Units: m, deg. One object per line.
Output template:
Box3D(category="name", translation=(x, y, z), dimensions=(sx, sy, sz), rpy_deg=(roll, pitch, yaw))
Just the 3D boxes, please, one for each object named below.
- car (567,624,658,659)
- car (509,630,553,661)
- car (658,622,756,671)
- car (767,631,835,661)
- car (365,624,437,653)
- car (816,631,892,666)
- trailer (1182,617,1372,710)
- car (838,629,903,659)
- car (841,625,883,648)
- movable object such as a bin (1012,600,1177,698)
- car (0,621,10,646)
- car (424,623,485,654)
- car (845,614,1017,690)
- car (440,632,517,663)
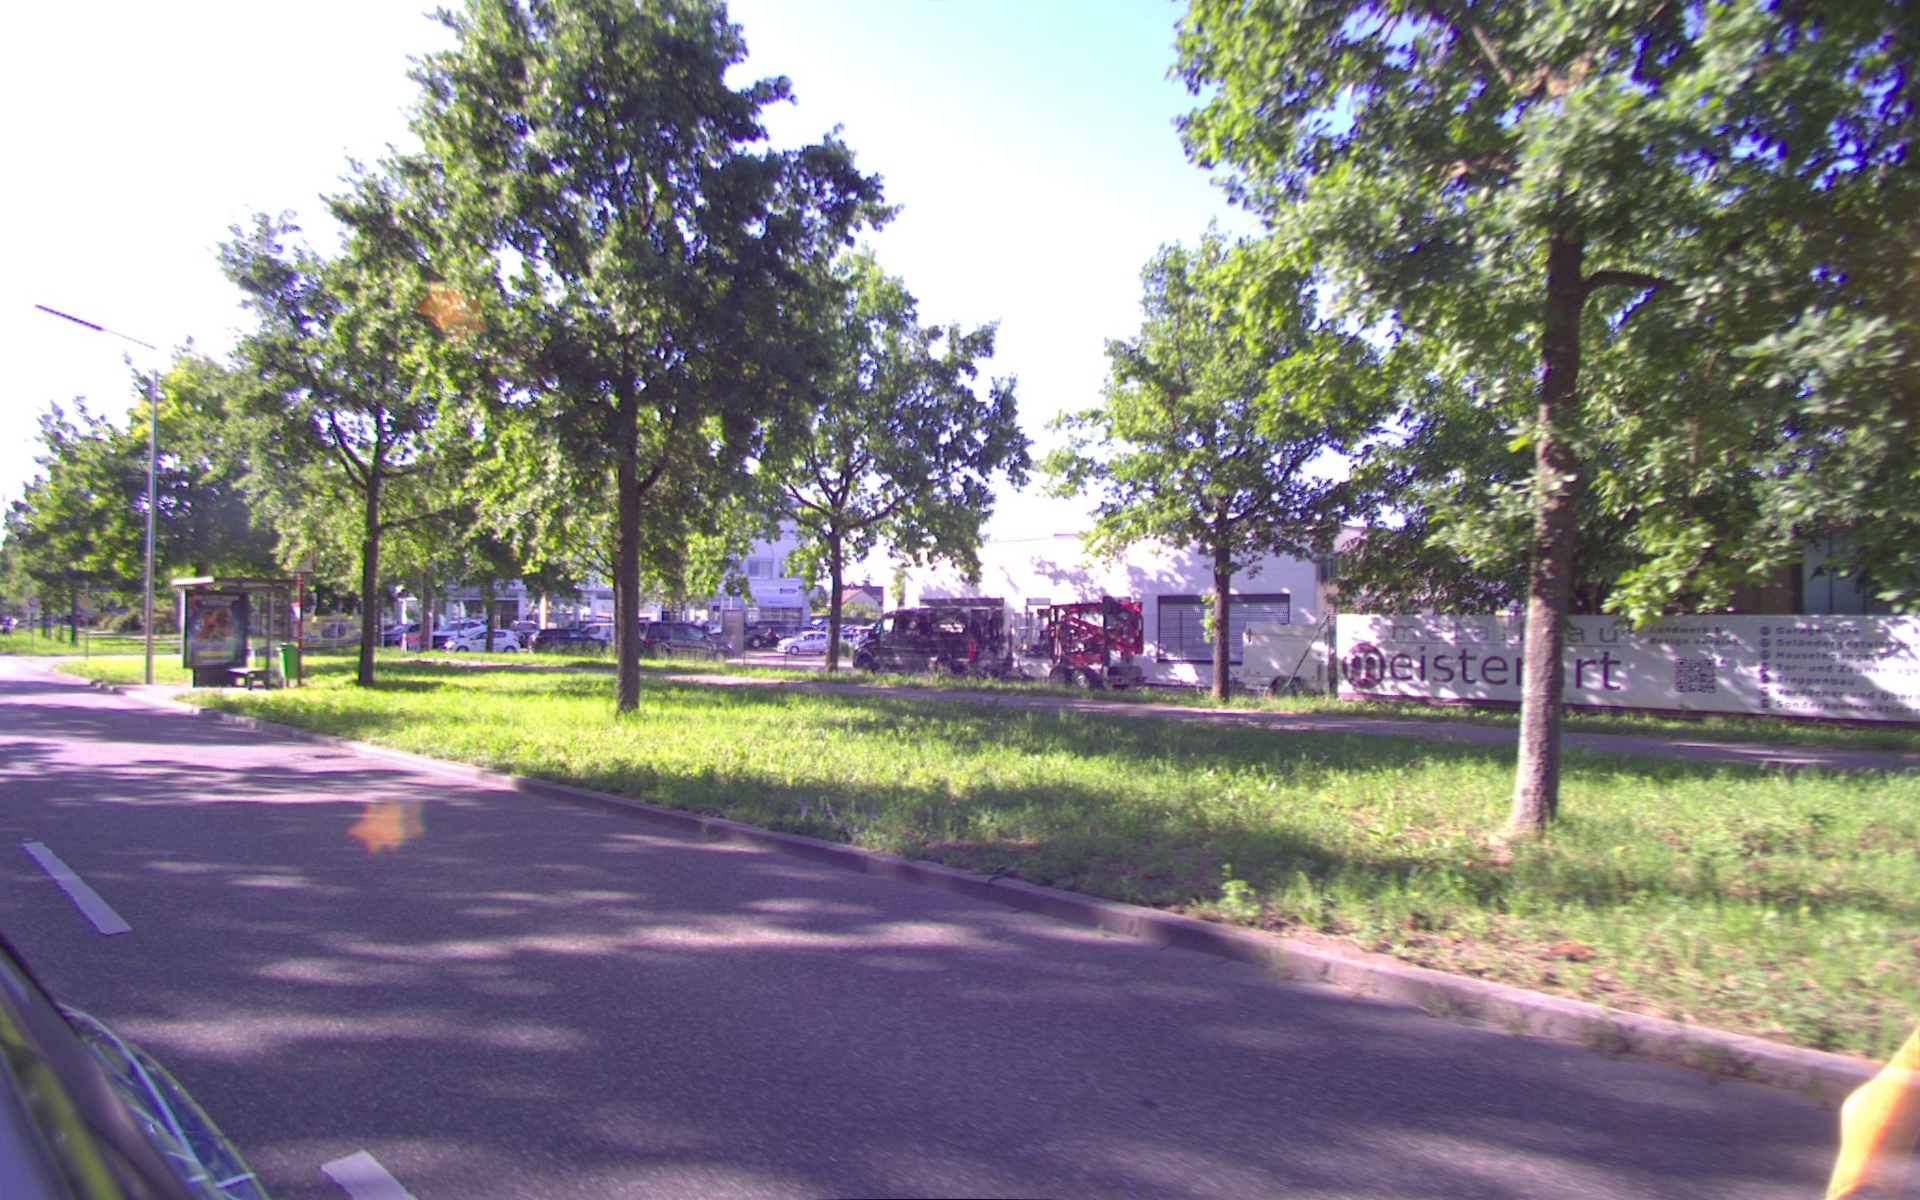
Box3D(category="car", translation=(-20.979, 2.475, 61.132), dimensions=(4.963, 1.851, 2.007), rpy_deg=(-1, 0, -26))
Box3D(category="car", translation=(-28.922, 3.041, 68.328), dimensions=(1.967, 1.851, 4.009), rpy_deg=(-1, 0, -11))
Box3D(category="car", translation=(-10.996, 1.988, 43.879), dimensions=(3.931, 2.029, 2.006), rpy_deg=(0, -2, -19))
Box3D(category="car", translation=(-10.594, 3.037, 67.456), dimensions=(3.932, 1.851, 2.006), rpy_deg=(-1, 0, -32))
Box3D(category="car", translation=(-37.845, 2.591, 68.623), dimensions=(1.983, 1.851, 3.977), rpy_deg=(-1, 0, 18))
Box3D(category="car", translation=(-6.193, 2.813, 59.244), dimensions=(3.933, 1.851, 2.005), rpy_deg=(-1, 0, -33))
Box3D(category="trailer", translation=(7.468, 1.450, 24.071), dimensions=(3.964, 2.029, 1.735), rpy_deg=(-2, -2, 43))
Box3D(category="car", translation=(-6.196, 3.025, 70.109), dimensions=(3.932, 1.851, 2.006), rpy_deg=(-1, 0, -32))
Box3D(category="car", translation=(-7.923, 2.941, 81.662), dimensions=(1.966, 1.694, 4.013), rpy_deg=(-1, 0, -29))
Box3D(category="movable object such as a bin", translation=(3.727, 1.299, 28.499), dimensions=(4.235, 2.535, 1.972), rpy_deg=(-1, 0, 43))
Box3D(category="car", translation=(-77.673, 2.699, 81.267), dimensions=(1.969, 2.029, 4.004), rpy_deg=(1, -2, -42))
Box3D(category="car", translation=(-33.133, 2.485, 66.470), dimensions=(1.972, 1.851, 3.999), rpy_deg=(-1, 0, 1))
Box3D(category="car", translation=(-1.016, 1.577, 31.911), dimensions=(5.669, 2.191, 1.972), rpy_deg=(-2, -2, 42))
Box3D(category="car", translation=(-27.258, 2.669, 57.279), dimensions=(3.827, 1.513, 2.006), rpy_deg=(-1, 0, -28))
